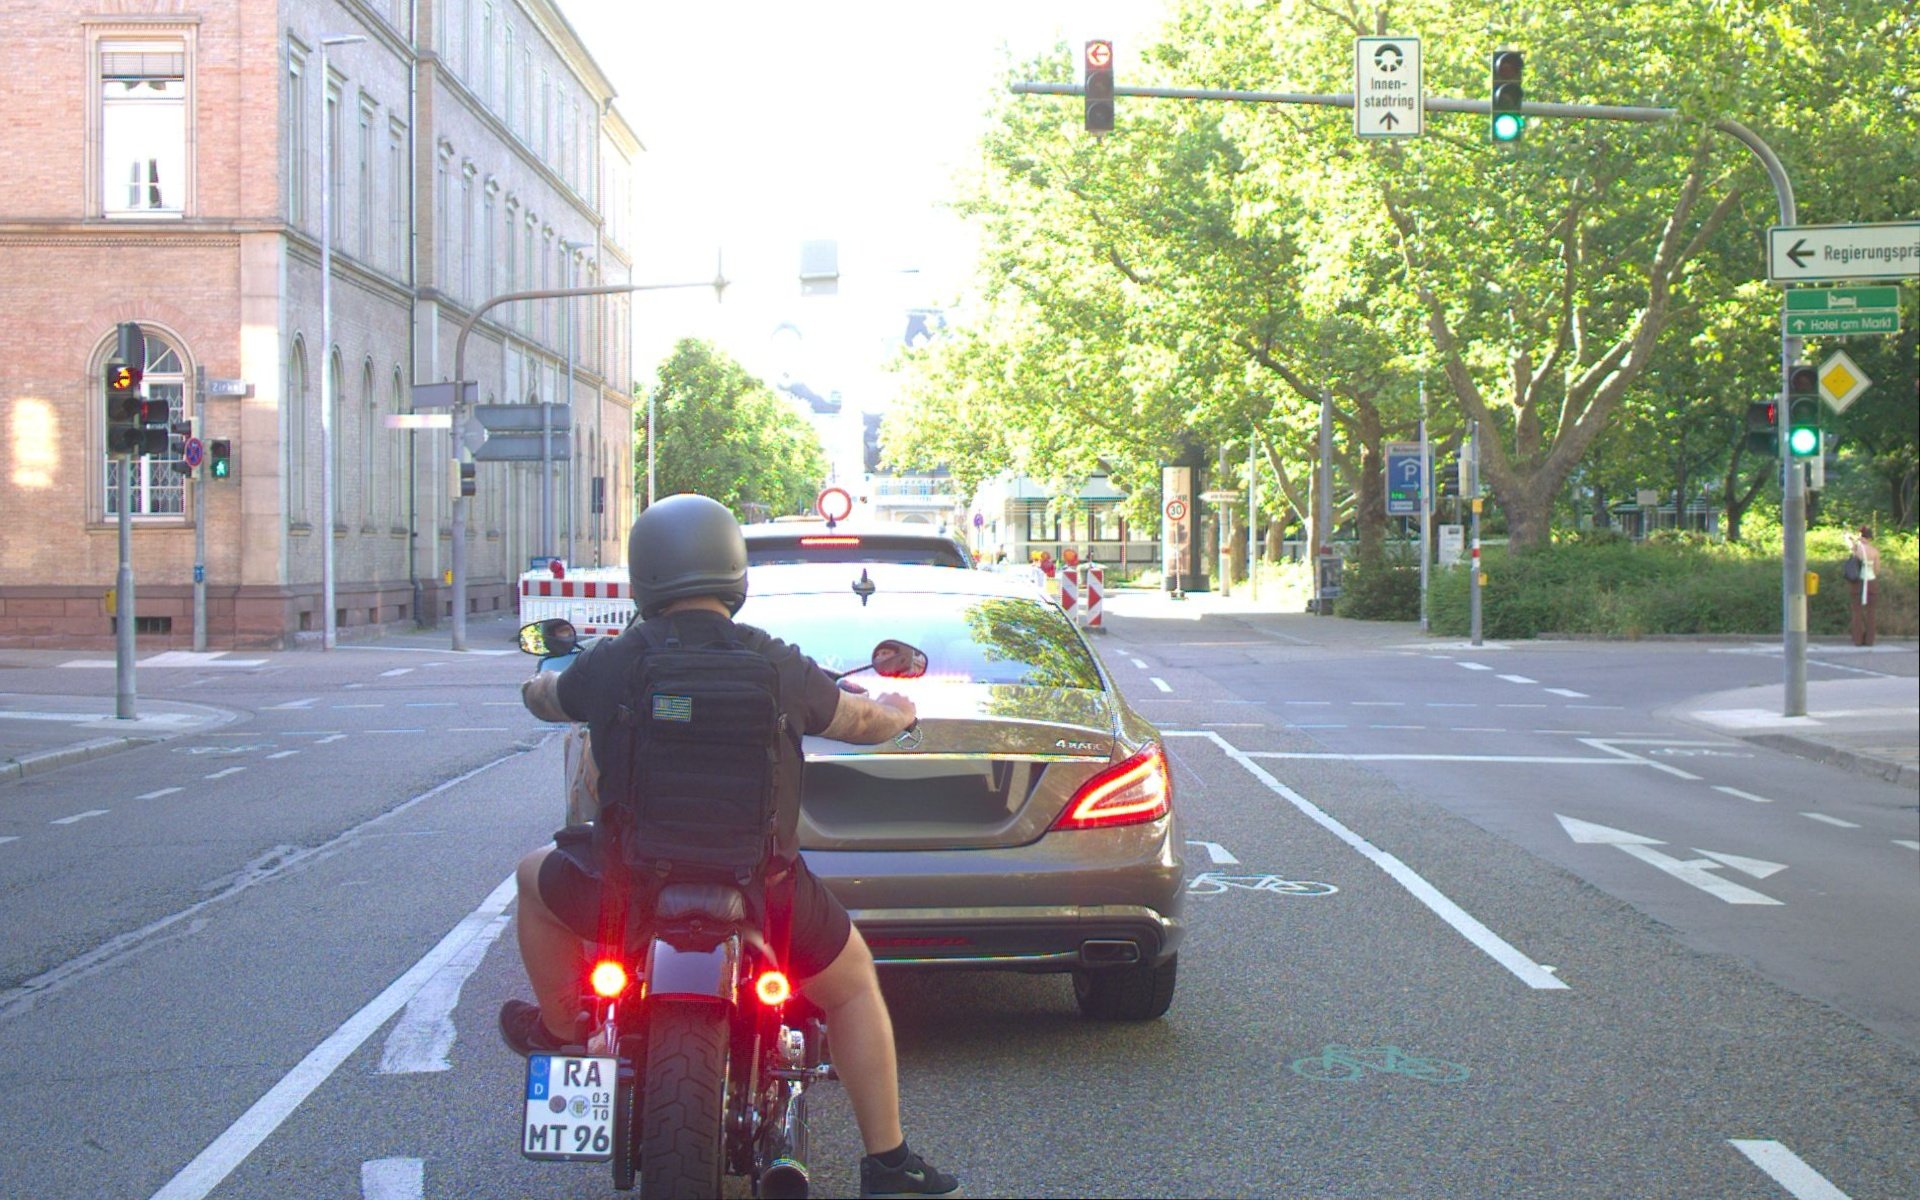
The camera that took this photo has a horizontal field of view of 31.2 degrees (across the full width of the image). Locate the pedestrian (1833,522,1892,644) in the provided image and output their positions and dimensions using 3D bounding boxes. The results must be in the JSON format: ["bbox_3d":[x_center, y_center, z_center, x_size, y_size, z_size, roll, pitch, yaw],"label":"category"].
[{"bbox_3d":[13.267,-0.250,50.544,0.678,1.766,0.616,1,0,29],"label":"pedestrian"}]

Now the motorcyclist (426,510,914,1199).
[{"bbox_3d":[-0.593,0.592,7.571,0.980,1.573,1.248,0,1,-1],"label":"motorcyclist"}]

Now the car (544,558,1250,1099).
[{"bbox_3d":[-0.425,0.591,11.642,1.869,1.439,4.431,0,1,-8],"label":"car"}]

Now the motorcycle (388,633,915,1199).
[{"bbox_3d":[-0.594,0.743,7.656,0.980,1.271,2.407,0,1,-1],"label":"motorcycle"}]

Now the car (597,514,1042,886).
[{"bbox_3d":[-0.658,0.433,17.564,1.993,1.660,4.000,1,1,-1],"label":"car"}]
